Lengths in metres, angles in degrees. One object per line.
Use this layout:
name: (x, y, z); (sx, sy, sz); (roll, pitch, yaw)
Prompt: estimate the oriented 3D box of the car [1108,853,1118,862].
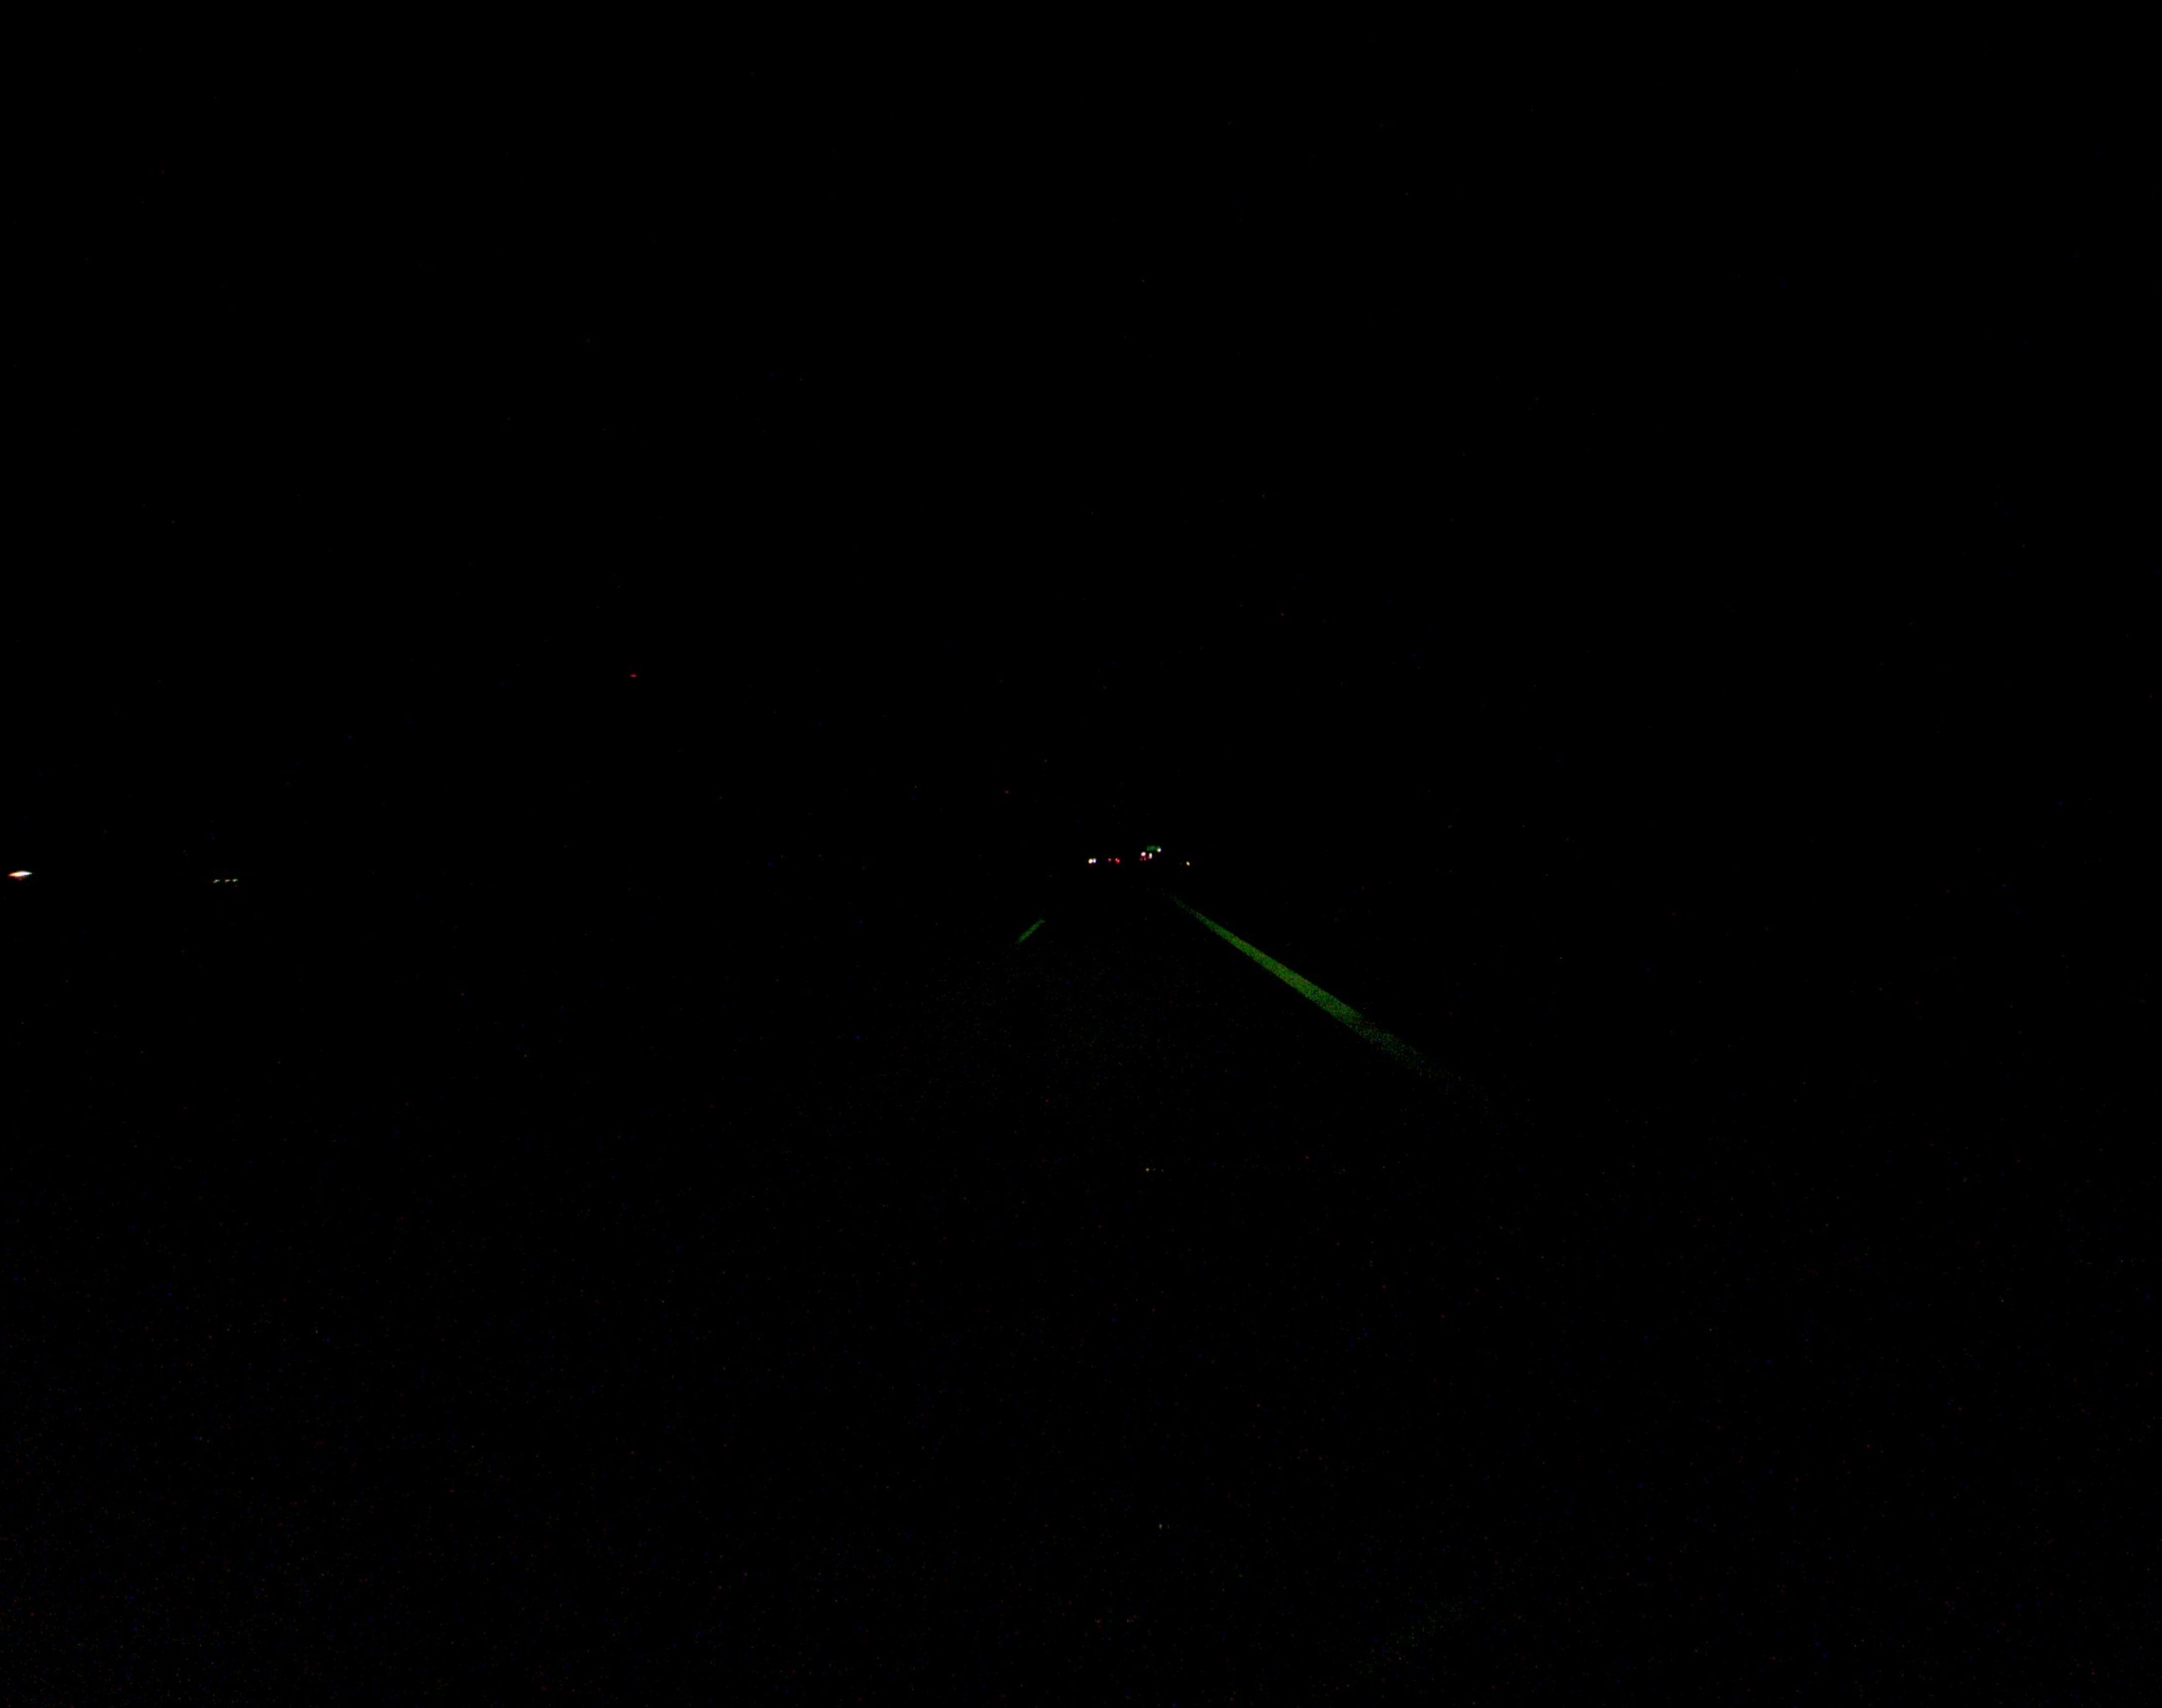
car: (8.707, 0.936, 220.652); (2.499, 2.314, 4.977); (-1, -1, 5)
